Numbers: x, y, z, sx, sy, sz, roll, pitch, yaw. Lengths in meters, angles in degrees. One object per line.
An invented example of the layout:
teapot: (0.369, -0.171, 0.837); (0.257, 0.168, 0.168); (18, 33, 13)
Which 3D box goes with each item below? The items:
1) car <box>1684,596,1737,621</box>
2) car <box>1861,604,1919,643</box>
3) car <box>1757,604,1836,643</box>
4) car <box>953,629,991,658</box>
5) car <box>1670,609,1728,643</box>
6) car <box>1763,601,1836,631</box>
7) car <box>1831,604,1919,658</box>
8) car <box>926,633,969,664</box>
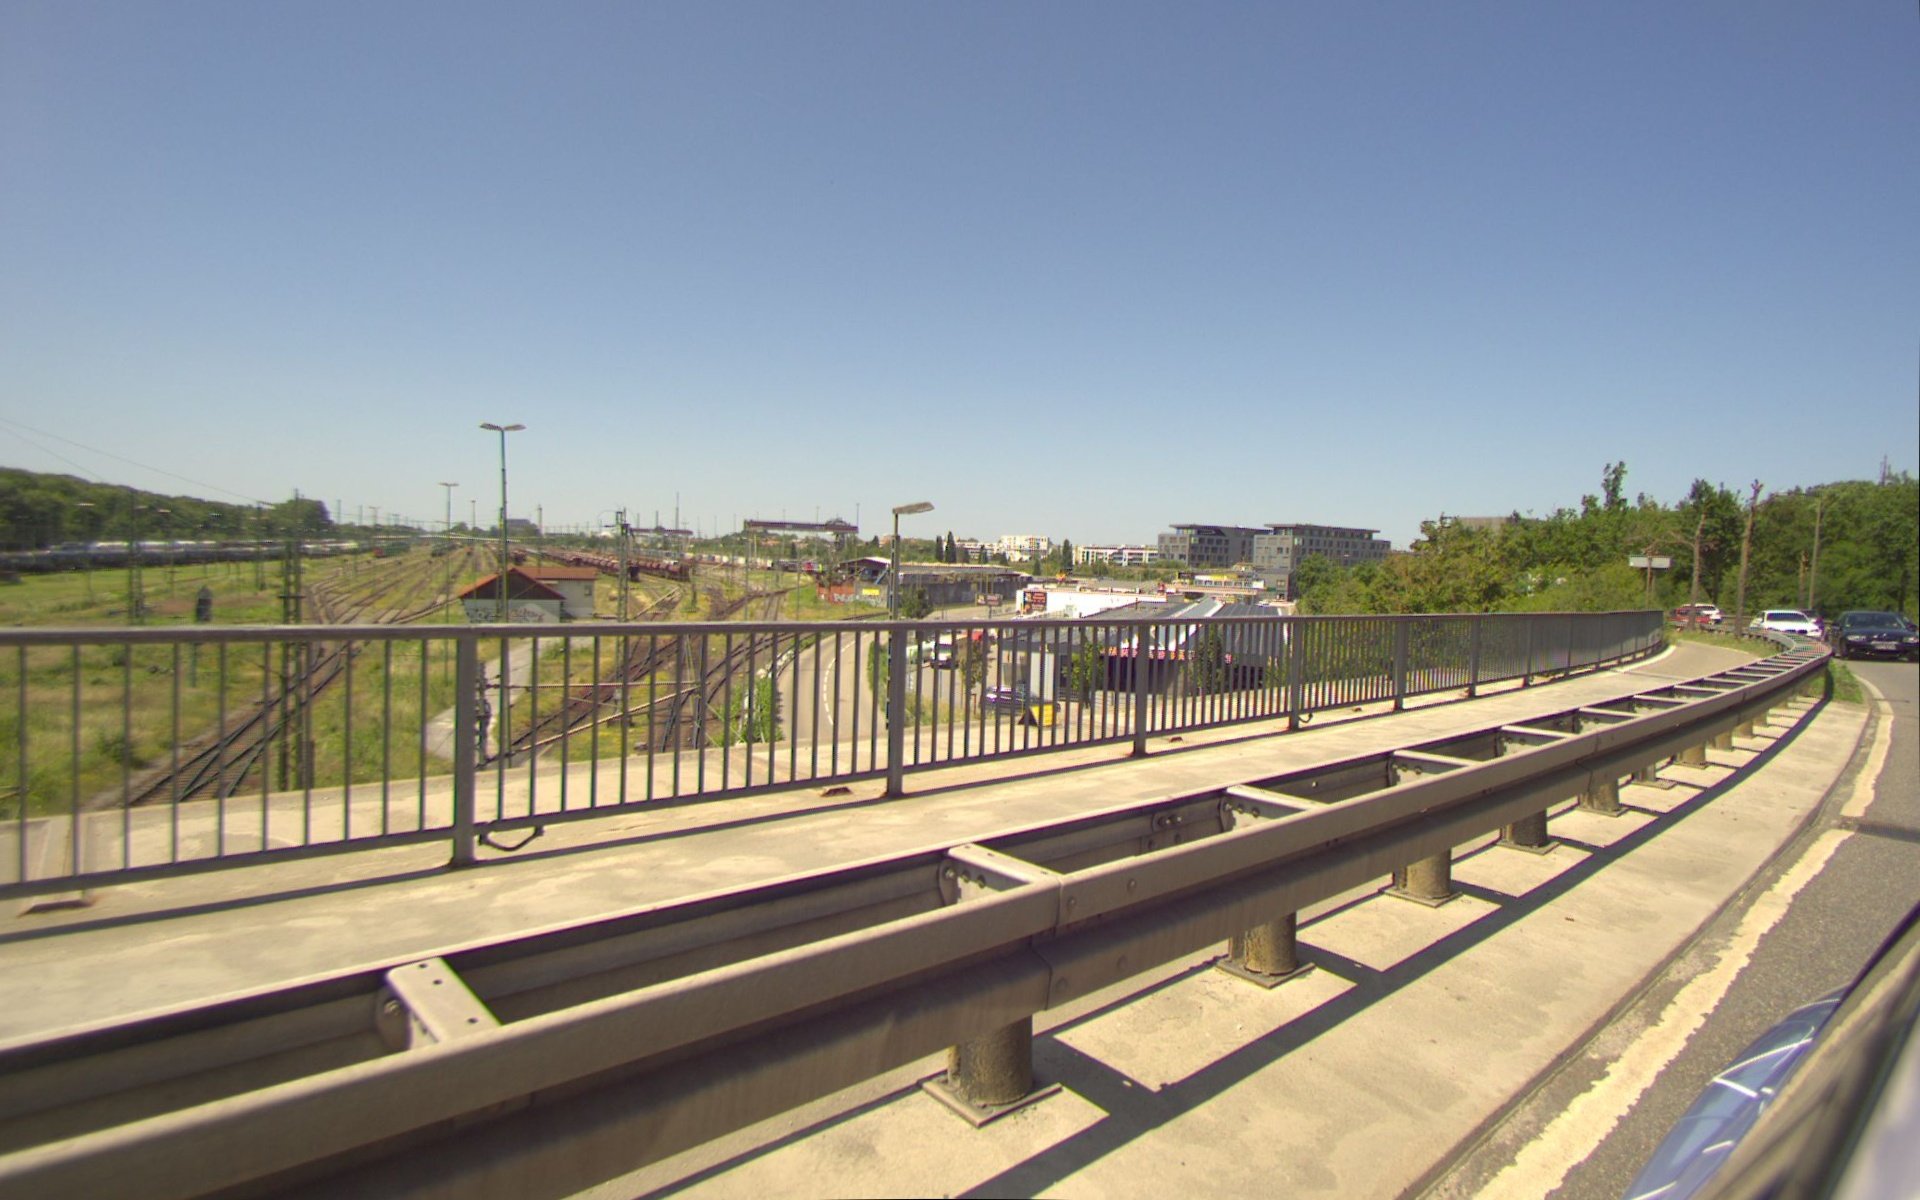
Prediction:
car: (49.592, 0.556, 66.966); (1.731, 1.565, 4.359); (1, 0, 22)
car: (38.732, 0.928, 41.734); (1.750, 1.461, 4.513); (1, 1, 34)
car: (33.439, 0.898, 40.546); (1.802, 1.446, 3.676); (1, 0, 30)
car: (1.116, 3.917, 91.709); (2.123, 2.382, 4.901); (-3, -2, 17)
car: (42.485, 1.444, 58.279); (1.882, 1.675, 4.221); (1, 2, 25)
car: (43.942, 0.801, 53.051); (1.701, 1.445, 4.078); (2, 1, 21)
car: (26.585, 0.835, 29.221); (1.558, 1.434, 4.075); (1, 0, 32)
car: (-1.005, 4.026, 85.117); (2.124, 2.382, 4.900); (-3, -2, 17)
